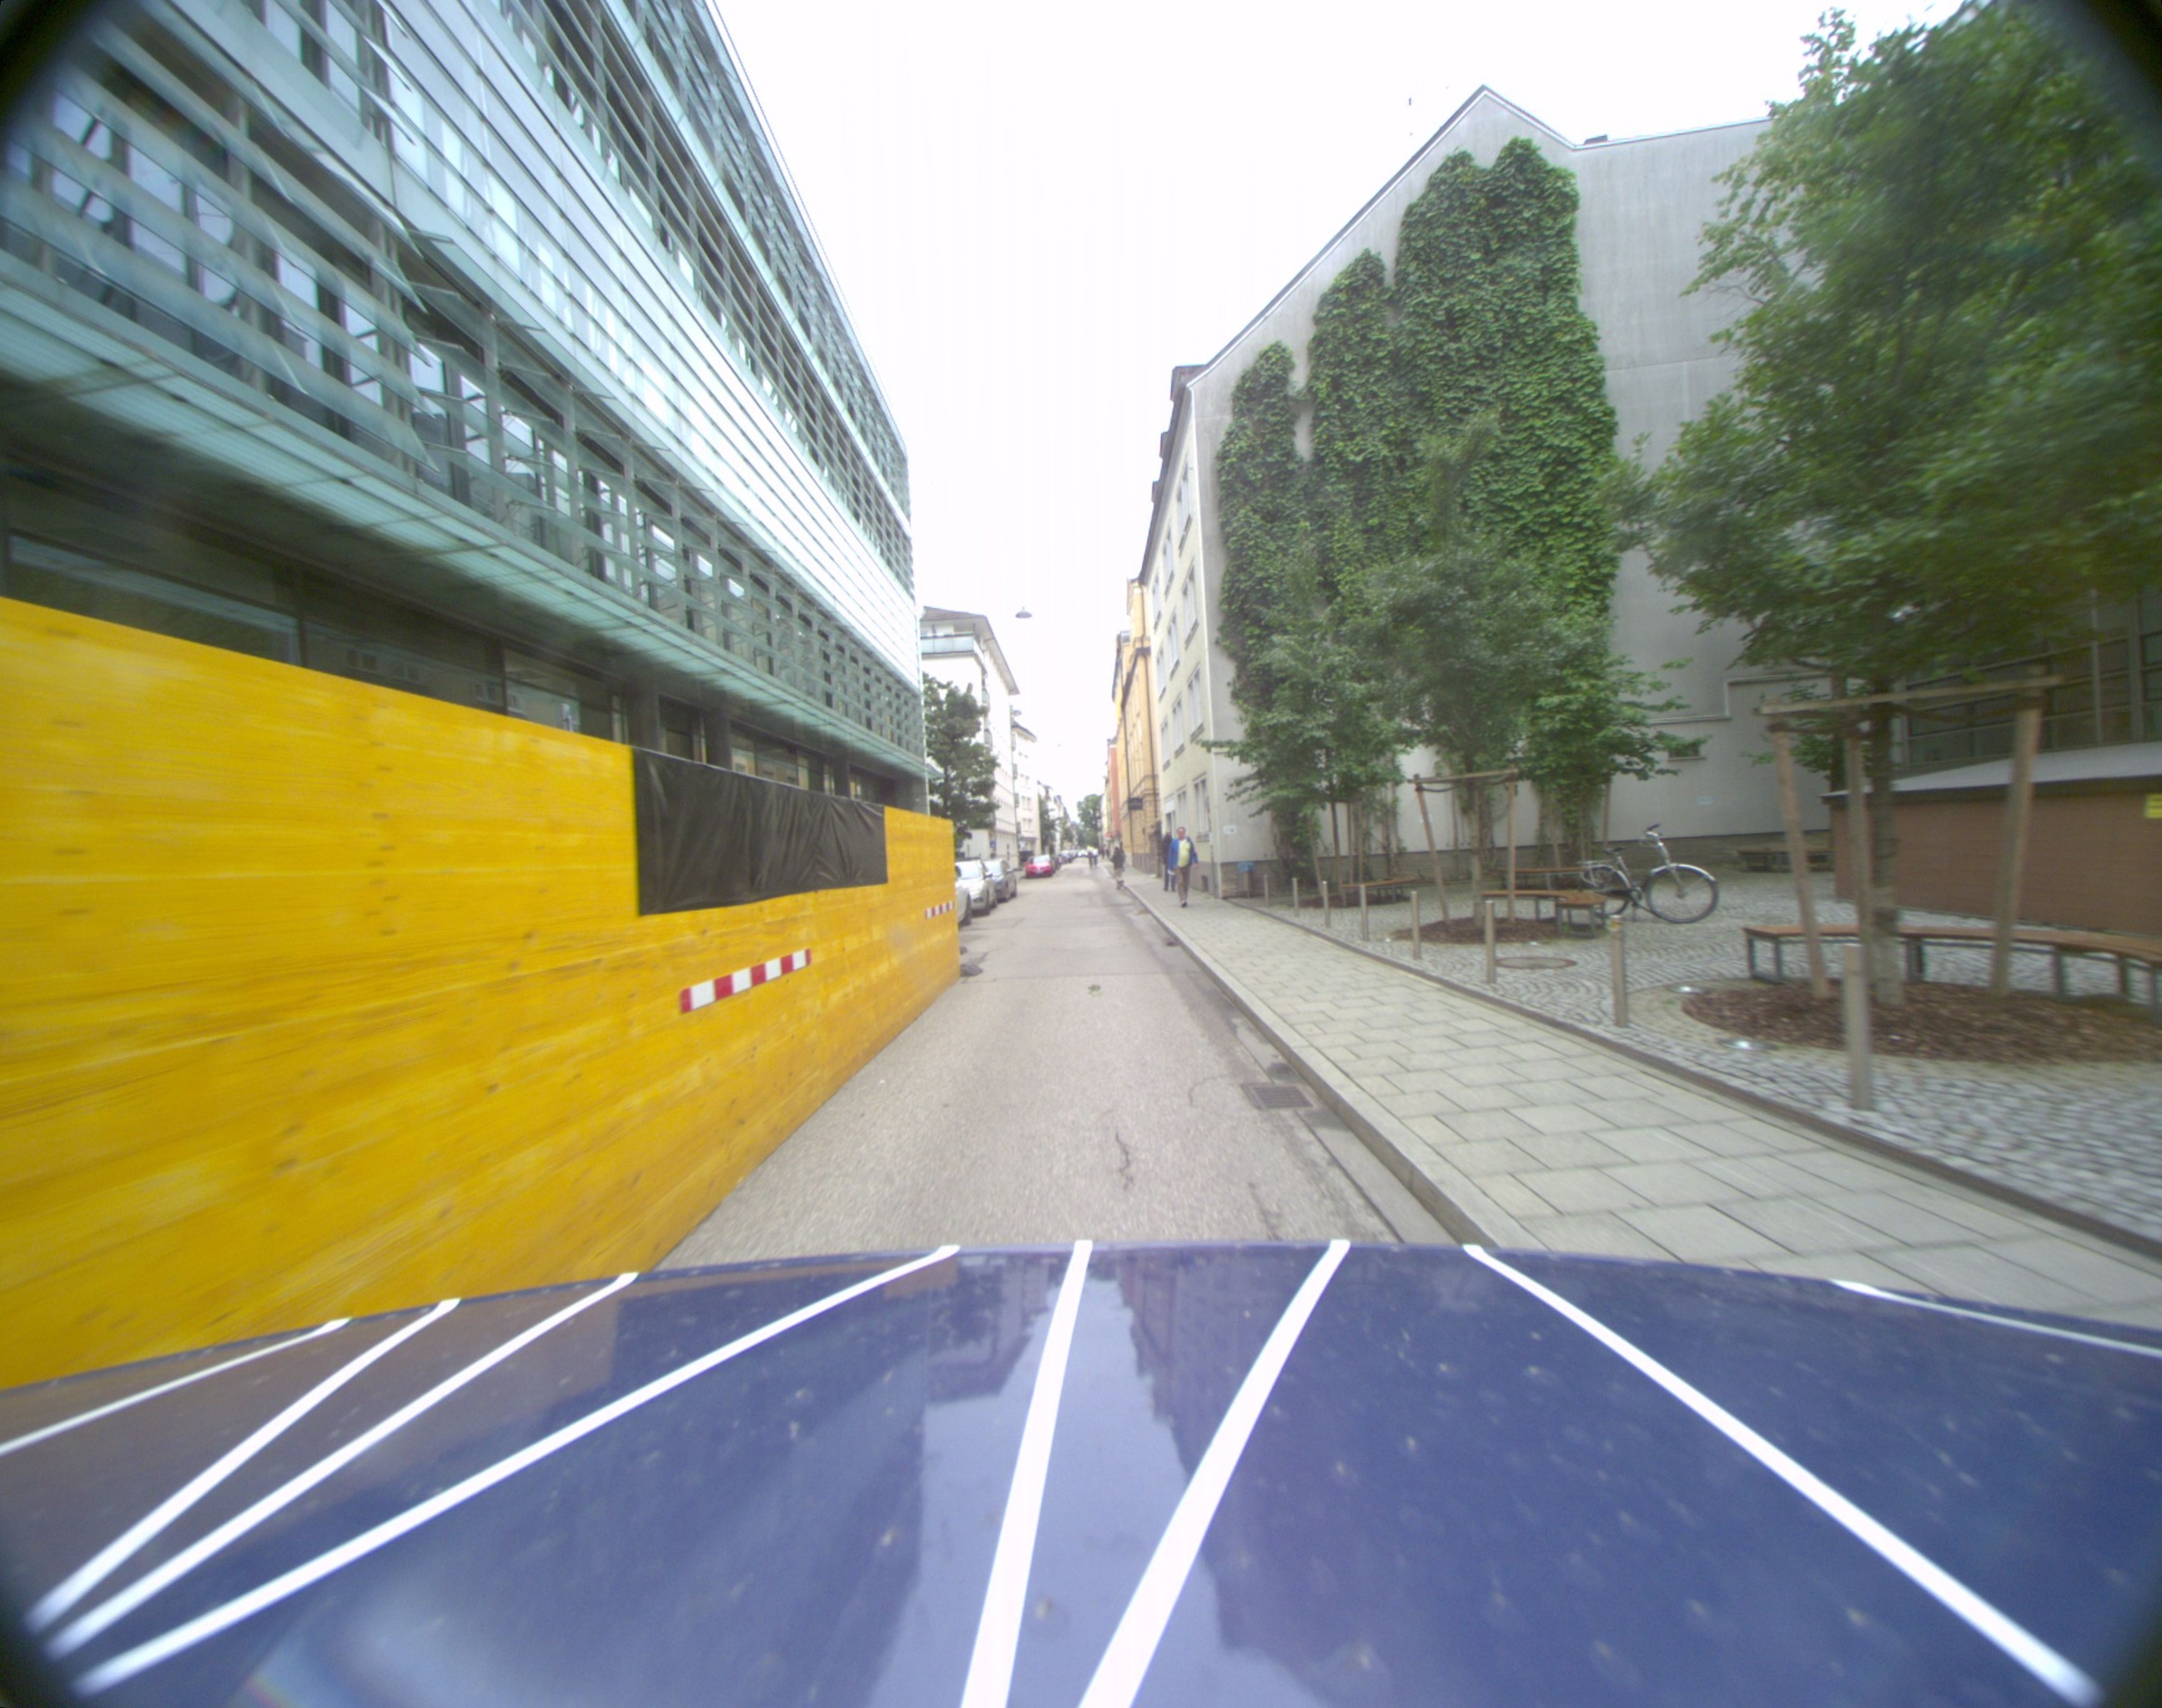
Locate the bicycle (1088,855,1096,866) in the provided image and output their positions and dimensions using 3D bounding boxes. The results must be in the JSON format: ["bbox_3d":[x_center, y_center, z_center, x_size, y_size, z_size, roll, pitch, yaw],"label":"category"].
[{"bbox_3d":[0.985,0.584,67.892,0.700,0.977,1.949,-4,1,0],"label":"bicycle"}]

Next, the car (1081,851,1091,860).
[{"bbox_3d":[0.983,0.334,149.279,1.998,1.583,4.375,-4,0,1],"label":"car"}]

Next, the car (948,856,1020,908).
[{"bbox_3d":[-3.195,0.880,25.844,1.877,1.477,4.277,-4,0,-1],"label":"car"}]

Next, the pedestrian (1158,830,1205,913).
[{"bbox_3d":[2.329,0.396,17.668,0.861,1.834,0.974,-4,1,2],"label":"pedestrian"}]

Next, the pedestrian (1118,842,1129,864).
[{"bbox_3d":[3.386,-0.059,60.493,0.700,1.696,0.768,-4,1,1],"label":"pedestrian"}]

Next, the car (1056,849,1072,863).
[{"bbox_3d":[-2.015,0.271,91.495,1.793,1.550,4.000,-4,1,1],"label":"car"}]

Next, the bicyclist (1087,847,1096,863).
[{"bbox_3d":[0.953,0.087,68.057,0.700,1.399,0.768,-4,1,0],"label":"bicyclist"}]

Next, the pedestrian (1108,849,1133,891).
[{"bbox_3d":[1.516,0.593,29.168,0.711,1.542,0.776,-5,1,-10],"label":"pedestrian"}]

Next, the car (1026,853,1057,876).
[{"bbox_3d":[-2.669,0.688,51.931,1.809,1.390,4.000,-4,0,1],"label":"car"}]

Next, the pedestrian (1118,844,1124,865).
[{"bbox_3d":[3.189,0.002,61.121,0.386,1.666,0.448,-2,1,-2],"label":"pedestrian"}]

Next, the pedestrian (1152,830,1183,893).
[{"bbox_3d":[2.710,0.225,23.769,0.744,1.892,0.879,-4,1,1],"label":"pedestrian"}]

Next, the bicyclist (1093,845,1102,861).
[{"bbox_3d":[1.560,-0.071,70.341,0.718,1.399,0.965,-4,1,0],"label":"bicyclist"}]

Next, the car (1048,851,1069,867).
[{"bbox_3d":[-2.022,0.454,68.914,1.625,1.259,4.329,-4,0,1],"label":"car"}]

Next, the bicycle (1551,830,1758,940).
[{"bbox_3d":[7.150,0.356,9.623,0.714,1.202,1.996,-5,1,-17],"label":"bicycle"}]

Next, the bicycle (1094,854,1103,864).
[{"bbox_3d":[1.594,0.457,70.433,0.700,0.926,1.694,-4,1,0],"label":"bicycle"}]

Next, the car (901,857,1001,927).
[{"bbox_3d":[-3.390,0.931,20.660,1.999,1.478,4.277,-5,1,-2],"label":"car"}]

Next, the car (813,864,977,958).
[{"bbox_3d":[-3.451,0.990,15.123,1.998,1.367,4.658,-4,0,1],"label":"car"}]
